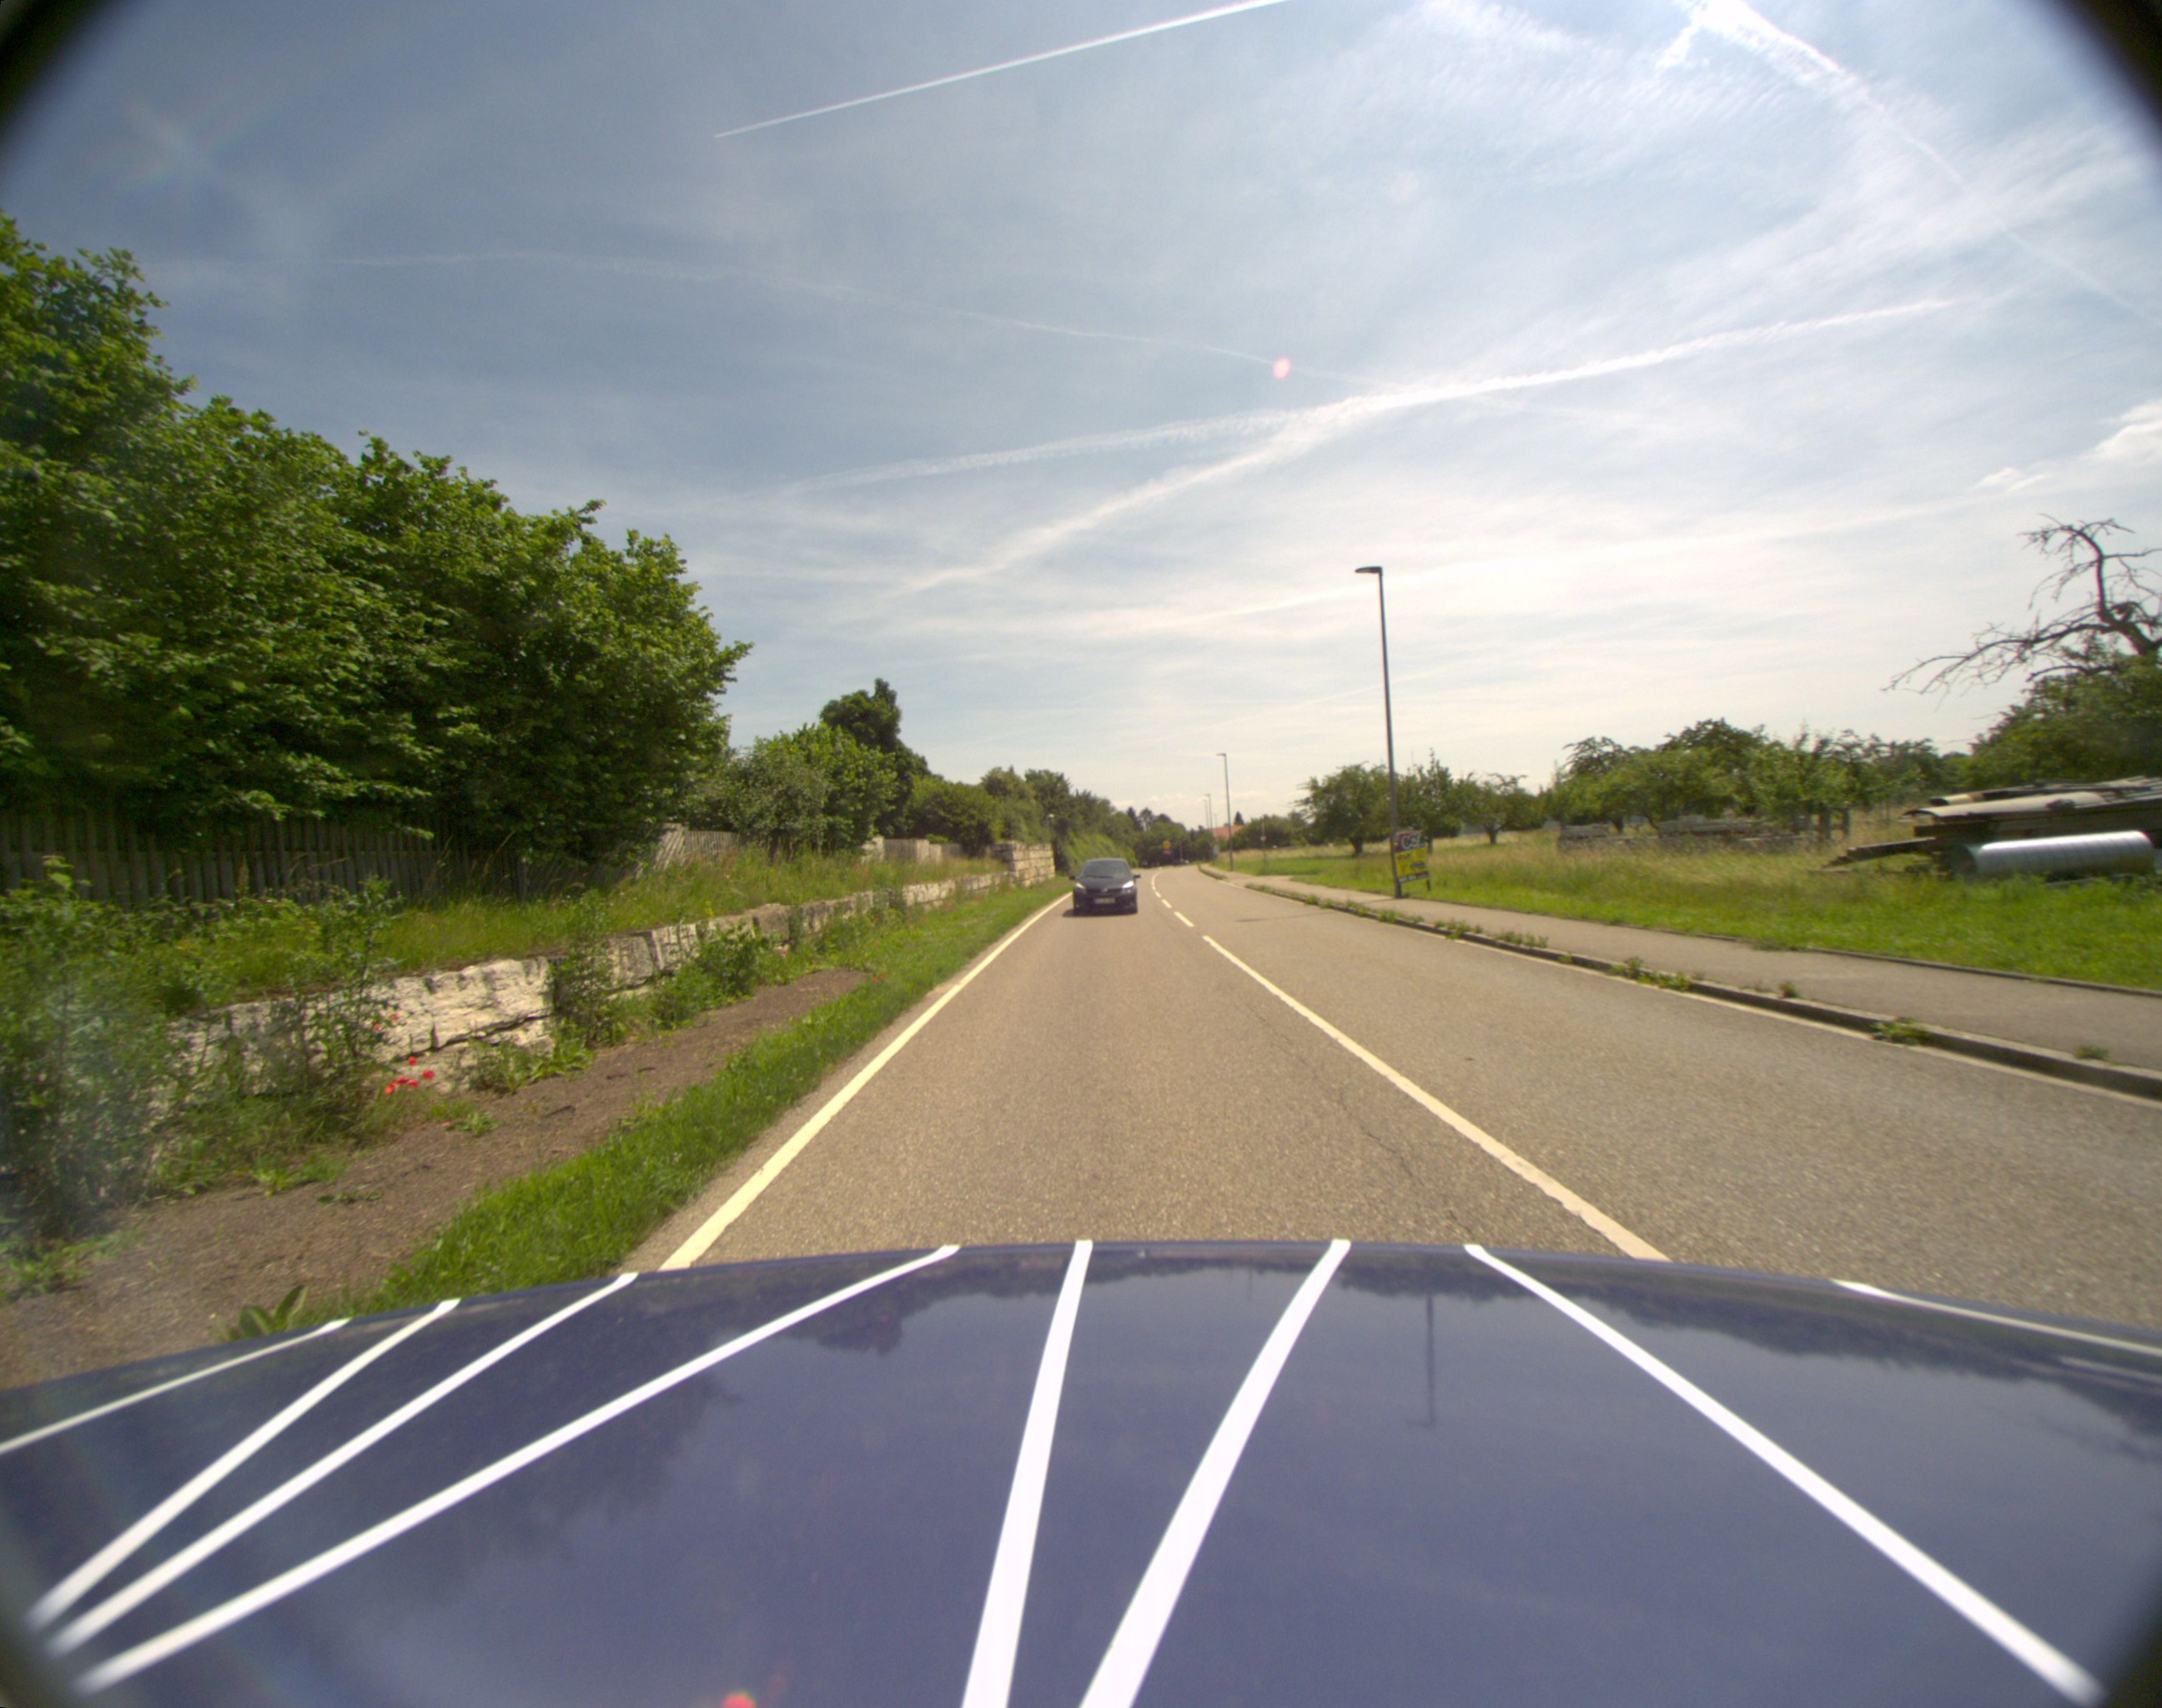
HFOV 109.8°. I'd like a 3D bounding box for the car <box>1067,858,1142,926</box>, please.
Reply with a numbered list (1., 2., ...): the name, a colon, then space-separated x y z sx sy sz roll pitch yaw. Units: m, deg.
1. car: 0.535 0.910 19.966 1.677 1.456 4.432 -3 0 0
